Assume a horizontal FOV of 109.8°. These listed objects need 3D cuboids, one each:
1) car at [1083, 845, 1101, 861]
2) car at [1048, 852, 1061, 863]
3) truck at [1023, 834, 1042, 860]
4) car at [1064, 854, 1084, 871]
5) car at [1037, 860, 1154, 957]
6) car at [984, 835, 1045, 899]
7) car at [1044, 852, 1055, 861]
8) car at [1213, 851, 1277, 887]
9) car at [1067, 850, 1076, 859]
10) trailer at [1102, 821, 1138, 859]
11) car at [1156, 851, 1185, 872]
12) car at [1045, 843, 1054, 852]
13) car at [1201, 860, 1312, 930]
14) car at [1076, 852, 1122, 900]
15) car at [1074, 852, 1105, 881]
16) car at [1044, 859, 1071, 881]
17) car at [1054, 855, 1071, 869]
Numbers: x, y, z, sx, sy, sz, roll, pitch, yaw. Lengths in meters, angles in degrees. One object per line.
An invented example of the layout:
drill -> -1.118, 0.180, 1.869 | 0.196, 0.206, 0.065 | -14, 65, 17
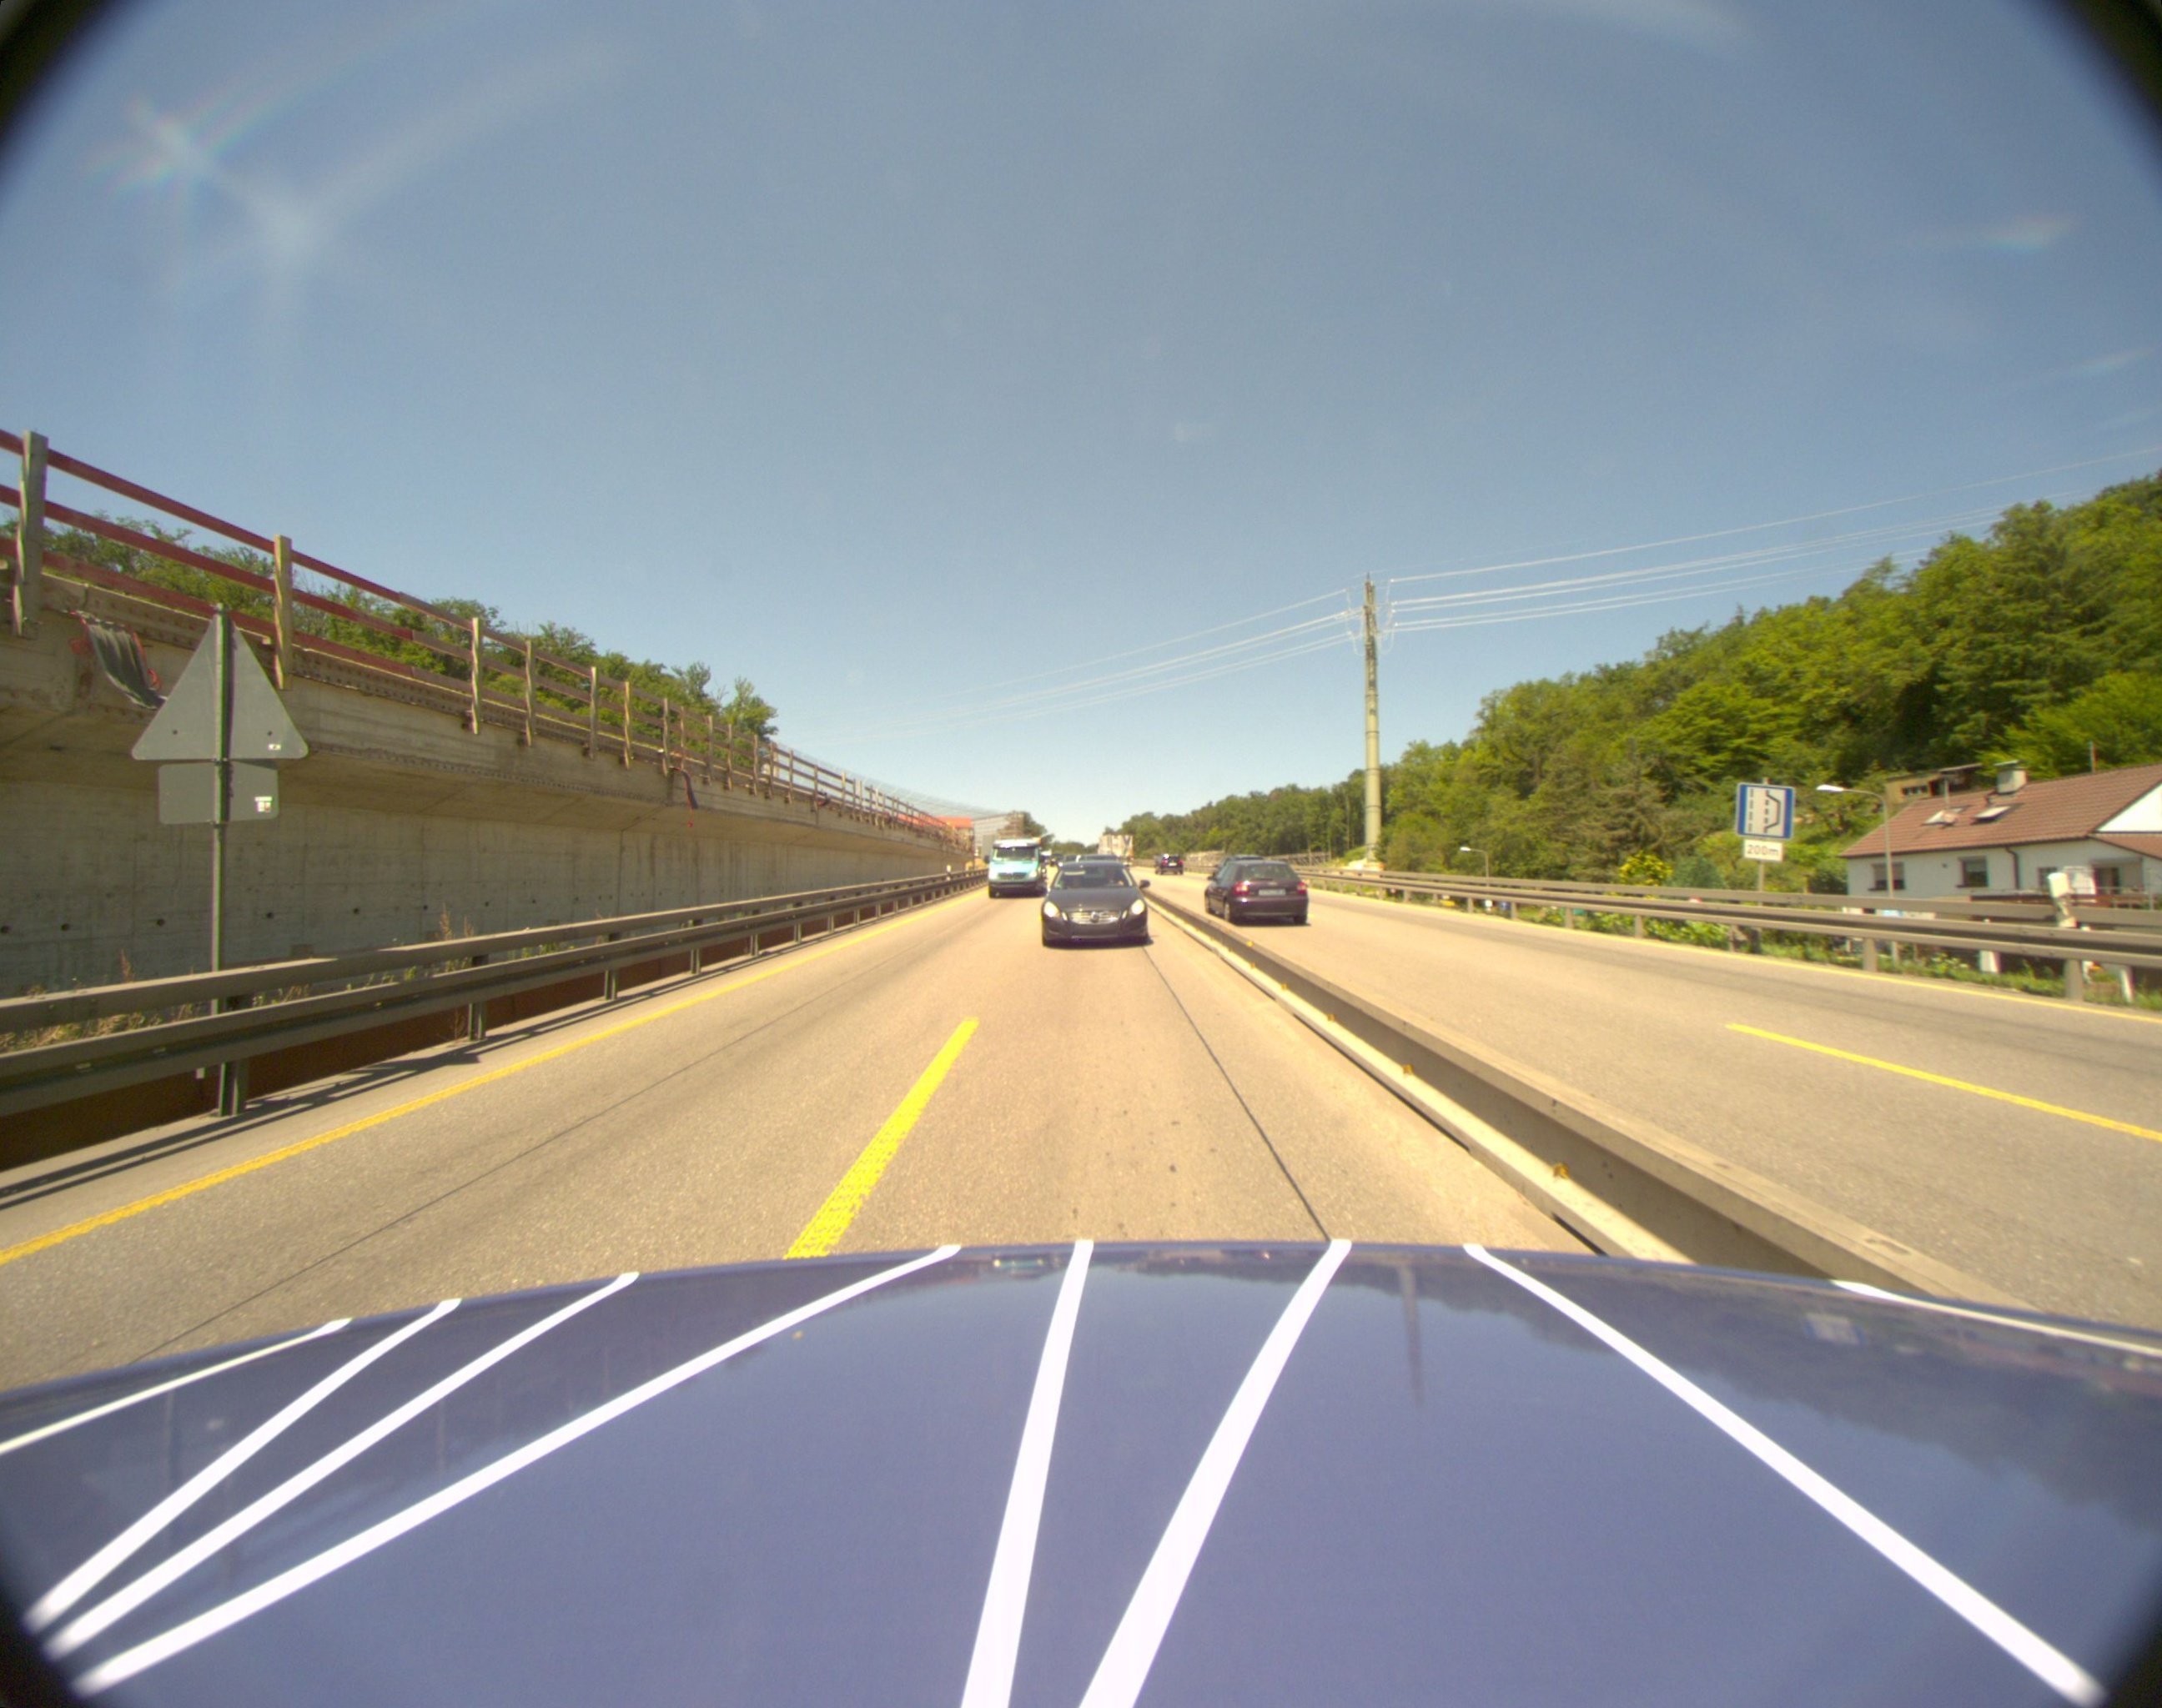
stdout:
car -> 1.166, -0.168, 82.767 | 1.824, 1.577, 4.158 | -4, 1, 1
car -> -3.432, 0.475, 99.177 | 1.586, 1.366, 3.344 | -2, 1, 1
truck -> -7.104, -1.001, 109.754 | 2.471, 3.464, 9.863 | -2, 1, -5
car -> -0.595, 0.728, 65.490 | 1.647, 1.366, 3.344 | -2, 1, 1
car -> 0.120, 0.896, 14.491 | 1.844, 1.475, 4.561 | -1, 0, -3
car -> -2.637, 0.441, 31.640 | 2.218, 2.312, 6.899 | -1, 1, -3
car -> -5.111, 0.412, 123.570 | 1.586, 1.366, 3.344 | -2, 1, 1
car -> 7.053, 0.601, 33.209 | 1.846, 1.410, 4.686 | 0, 1, 1
car -> -2.145, 0.091, 177.780 | 1.999, 1.999, 4.856 | -1, 1, -1
trailer -> 4.841, -1.745, 97.153 | 3.261, 4.353, 14.053 | -2, 1, -2
car -> 6.622, 0.585, 56.808 | 1.736, 1.480, 4.001 | -1, -1, 1
car -> -6.887, -1.502, 167.709 | 1.999, 1.999, 4.856 | -1, 1, -1
car -> 3.909, 0.853, 17.534 | 1.722, 1.400, 4.000 | -1, 0, 1
car -> 0.620, 0.720, 27.450 | 1.519, 1.543, 3.860 | -1, 1, 0
car -> 0.469, 0.733, 45.315 | 1.736, 1.557, 3.619 | -2, 1, 0
car -> -1.649, 1.097, 53.397 | 1.739, 1.401, 3.585 | -2, 1, 0
car -> -2.045, 0.886, 82.054 | 1.647, 1.366, 3.343 | -2, 1, -3
